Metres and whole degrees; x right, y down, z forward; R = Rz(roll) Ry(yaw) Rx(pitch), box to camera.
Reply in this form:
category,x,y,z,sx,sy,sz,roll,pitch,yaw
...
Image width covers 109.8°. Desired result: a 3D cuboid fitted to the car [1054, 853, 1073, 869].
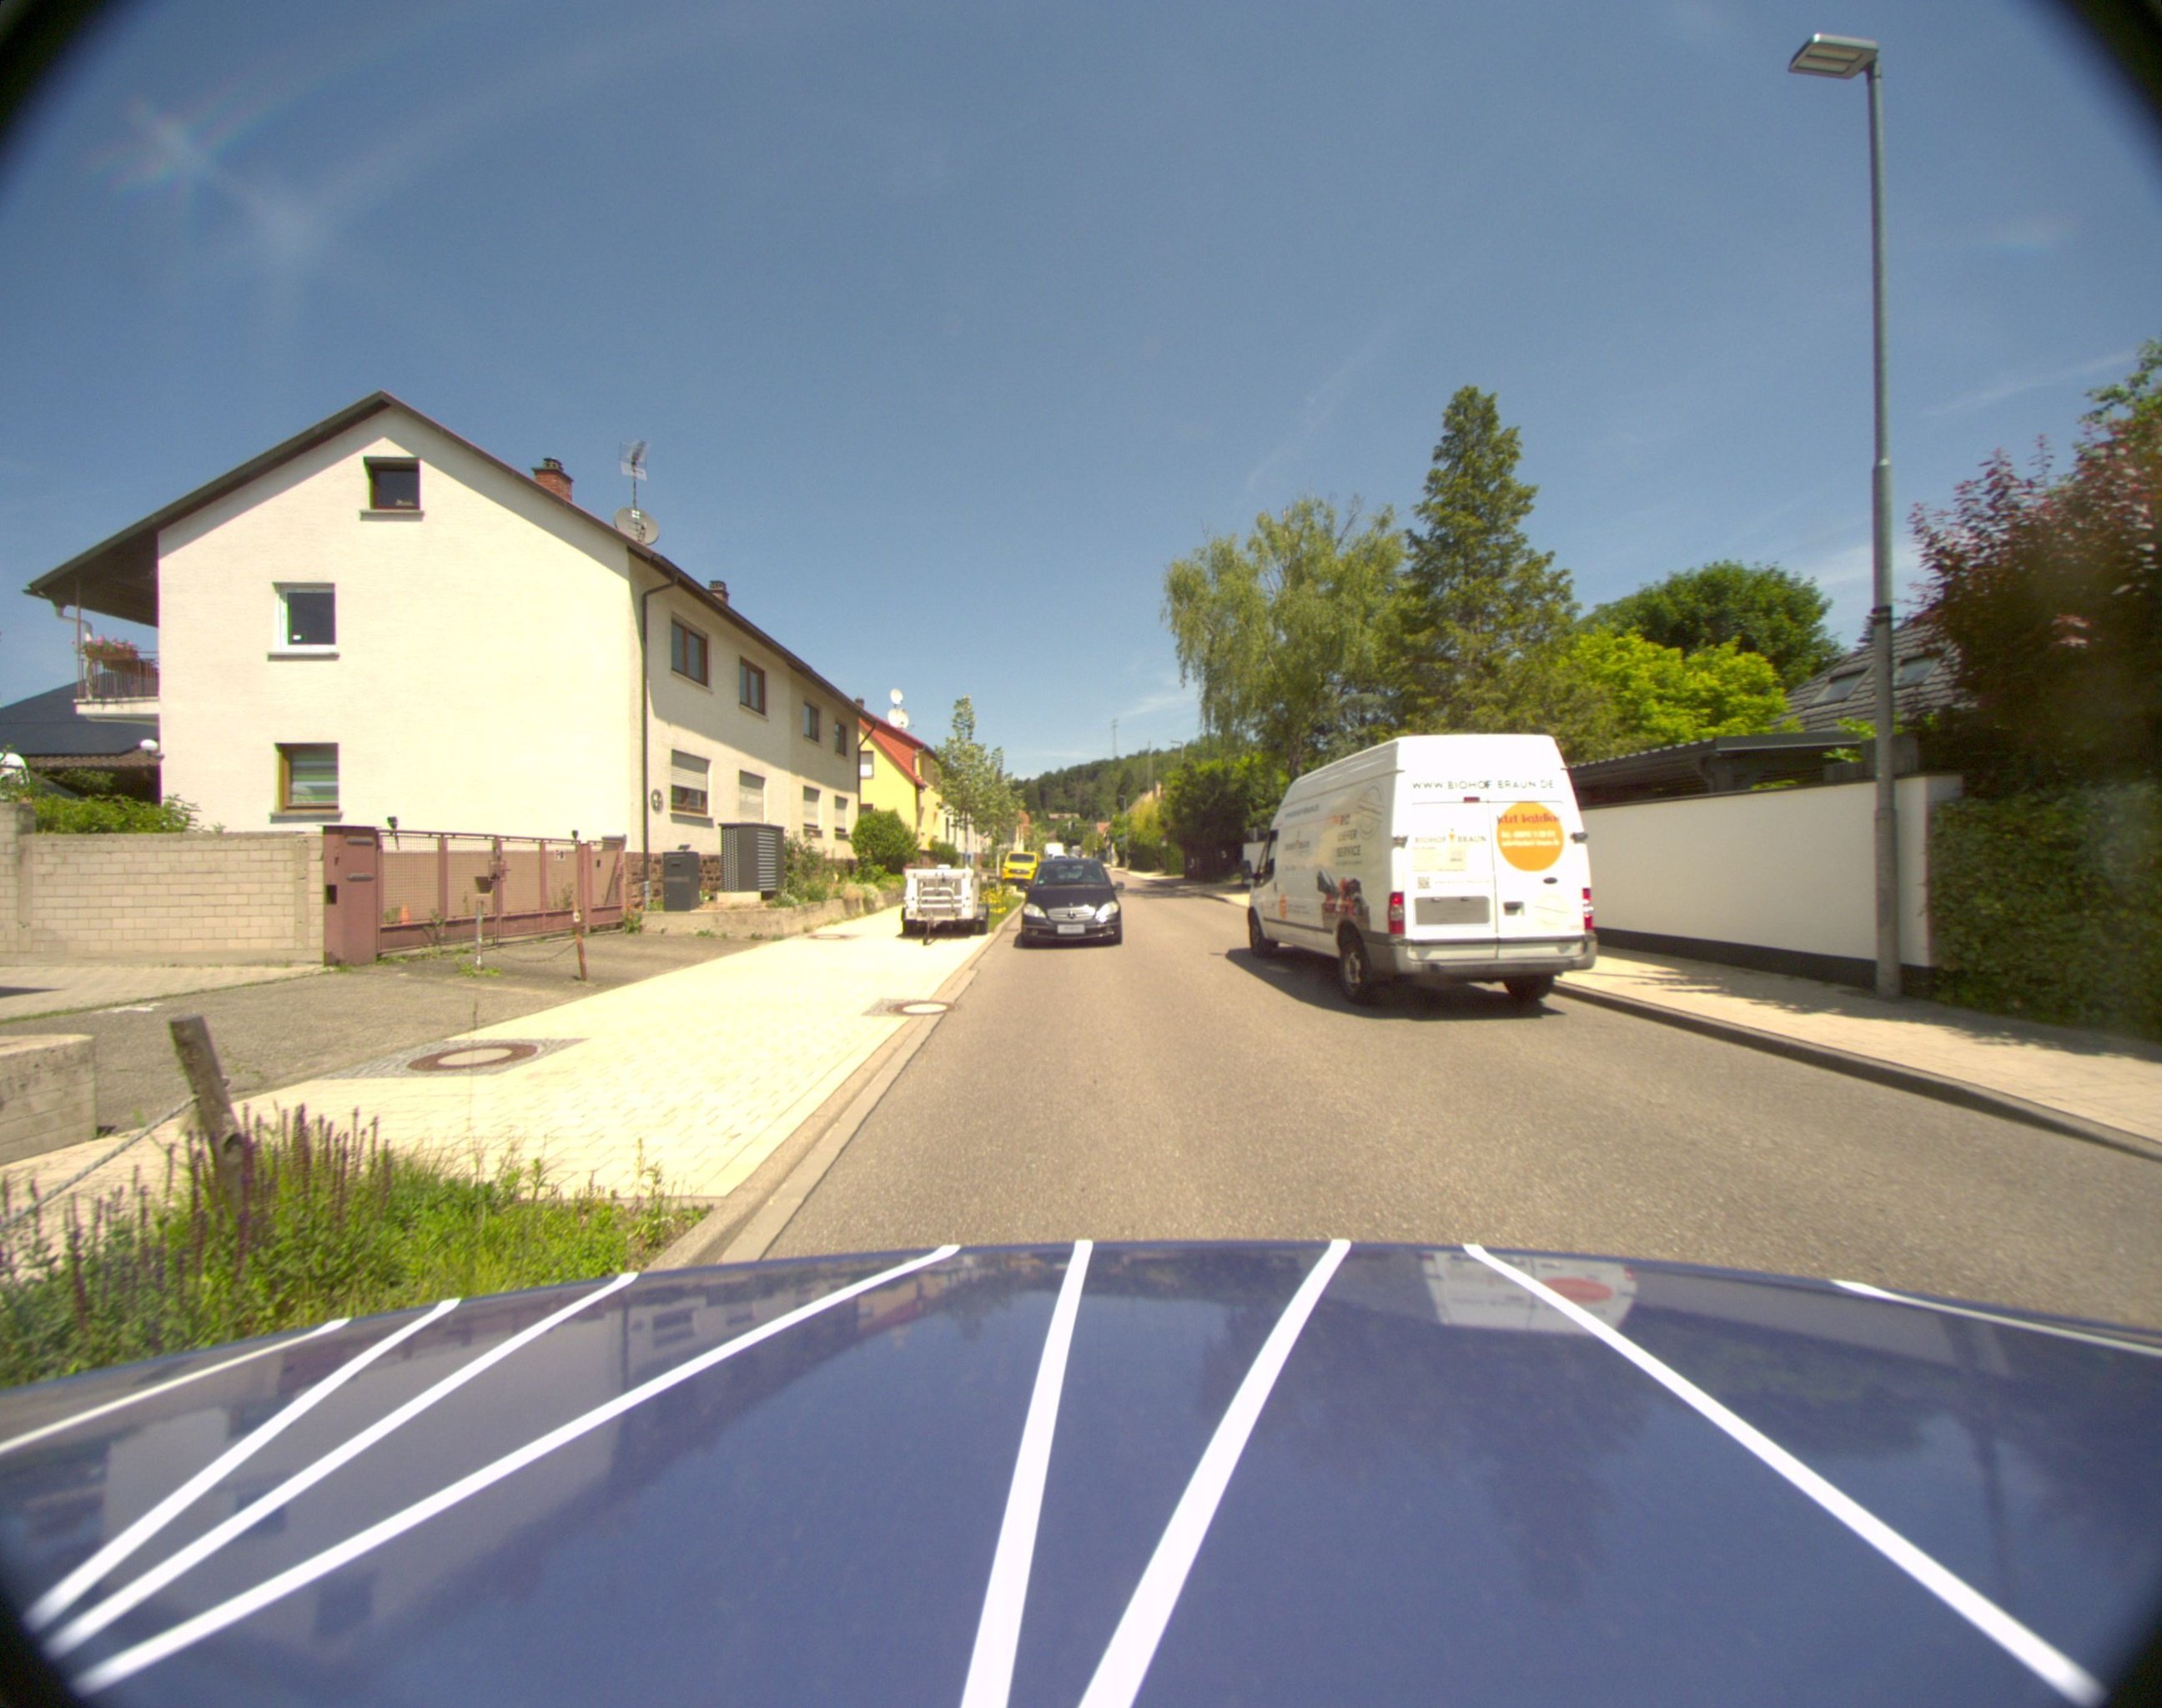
category,x,y,z,sx,sy,sz,roll,pitch,yaw
car,-2.026,0.762,87.184,1.999,1.716,3.999,-3,1,-2

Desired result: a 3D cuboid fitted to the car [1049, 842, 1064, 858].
category,x,y,z,sx,sy,sz,roll,pitch,yaw
car,-3.456,-0.641,108.697,1.987,2.170,3.999,-3,1,0

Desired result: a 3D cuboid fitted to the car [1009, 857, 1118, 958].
category,x,y,z,sx,sy,sz,roll,pitch,yaw
car,-0.294,0.912,15.305,1.767,1.572,4.930,-3,1,0

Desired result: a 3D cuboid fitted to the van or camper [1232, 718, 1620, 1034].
category,x,y,z,sx,sy,sz,roll,pitch,yaw
van or camper,3.576,0.160,9.482,2.043,2.698,5.822,-1,1,-2

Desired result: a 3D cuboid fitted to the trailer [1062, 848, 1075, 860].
category,x,y,z,sx,sy,sz,roll,pitch,yaw
trailer,-2.348,0.000,145.833,2.161,1.975,6.198,-3,1,-3

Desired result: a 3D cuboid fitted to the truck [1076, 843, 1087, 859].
category,x,y,z,sx,sy,sz,roll,pitch,yaw
truck,0.199,-0.680,177.721,2.548,3.716,8.621,0,0,0

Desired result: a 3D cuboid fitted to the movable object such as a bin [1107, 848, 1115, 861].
category,x,y,z,sx,sy,sz,roll,pitch,yaw
movable object such as a bin,4.715,0.089,120.778,1.062,2.002,1.322,-3,1,-1

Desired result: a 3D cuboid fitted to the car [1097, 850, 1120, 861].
category,x,y,z,sx,sy,sz,roll,pitch,yaw
car,4.608,0.238,126.676,3.606,1.780,1.847,-3,1,-2

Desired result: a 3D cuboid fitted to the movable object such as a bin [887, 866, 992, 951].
category,x,y,z,sx,sy,sz,roll,pitch,yaw
movable object such as a bin,-2.691,1.001,15.062,1.576,1.408,3.040,0,1,-2

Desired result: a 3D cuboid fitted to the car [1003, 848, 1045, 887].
category,x,y,z,sx,sy,sz,roll,pitch,yaw
car,-3.282,0.723,44.761,2.195,2.002,5.620,3,1,-2

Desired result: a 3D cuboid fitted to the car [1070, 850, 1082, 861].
category,x,y,z,sx,sy,sz,roll,pitch,yaw
car,-0.904,0.247,128.555,1.872,1.643,3.948,-3,0,-2
